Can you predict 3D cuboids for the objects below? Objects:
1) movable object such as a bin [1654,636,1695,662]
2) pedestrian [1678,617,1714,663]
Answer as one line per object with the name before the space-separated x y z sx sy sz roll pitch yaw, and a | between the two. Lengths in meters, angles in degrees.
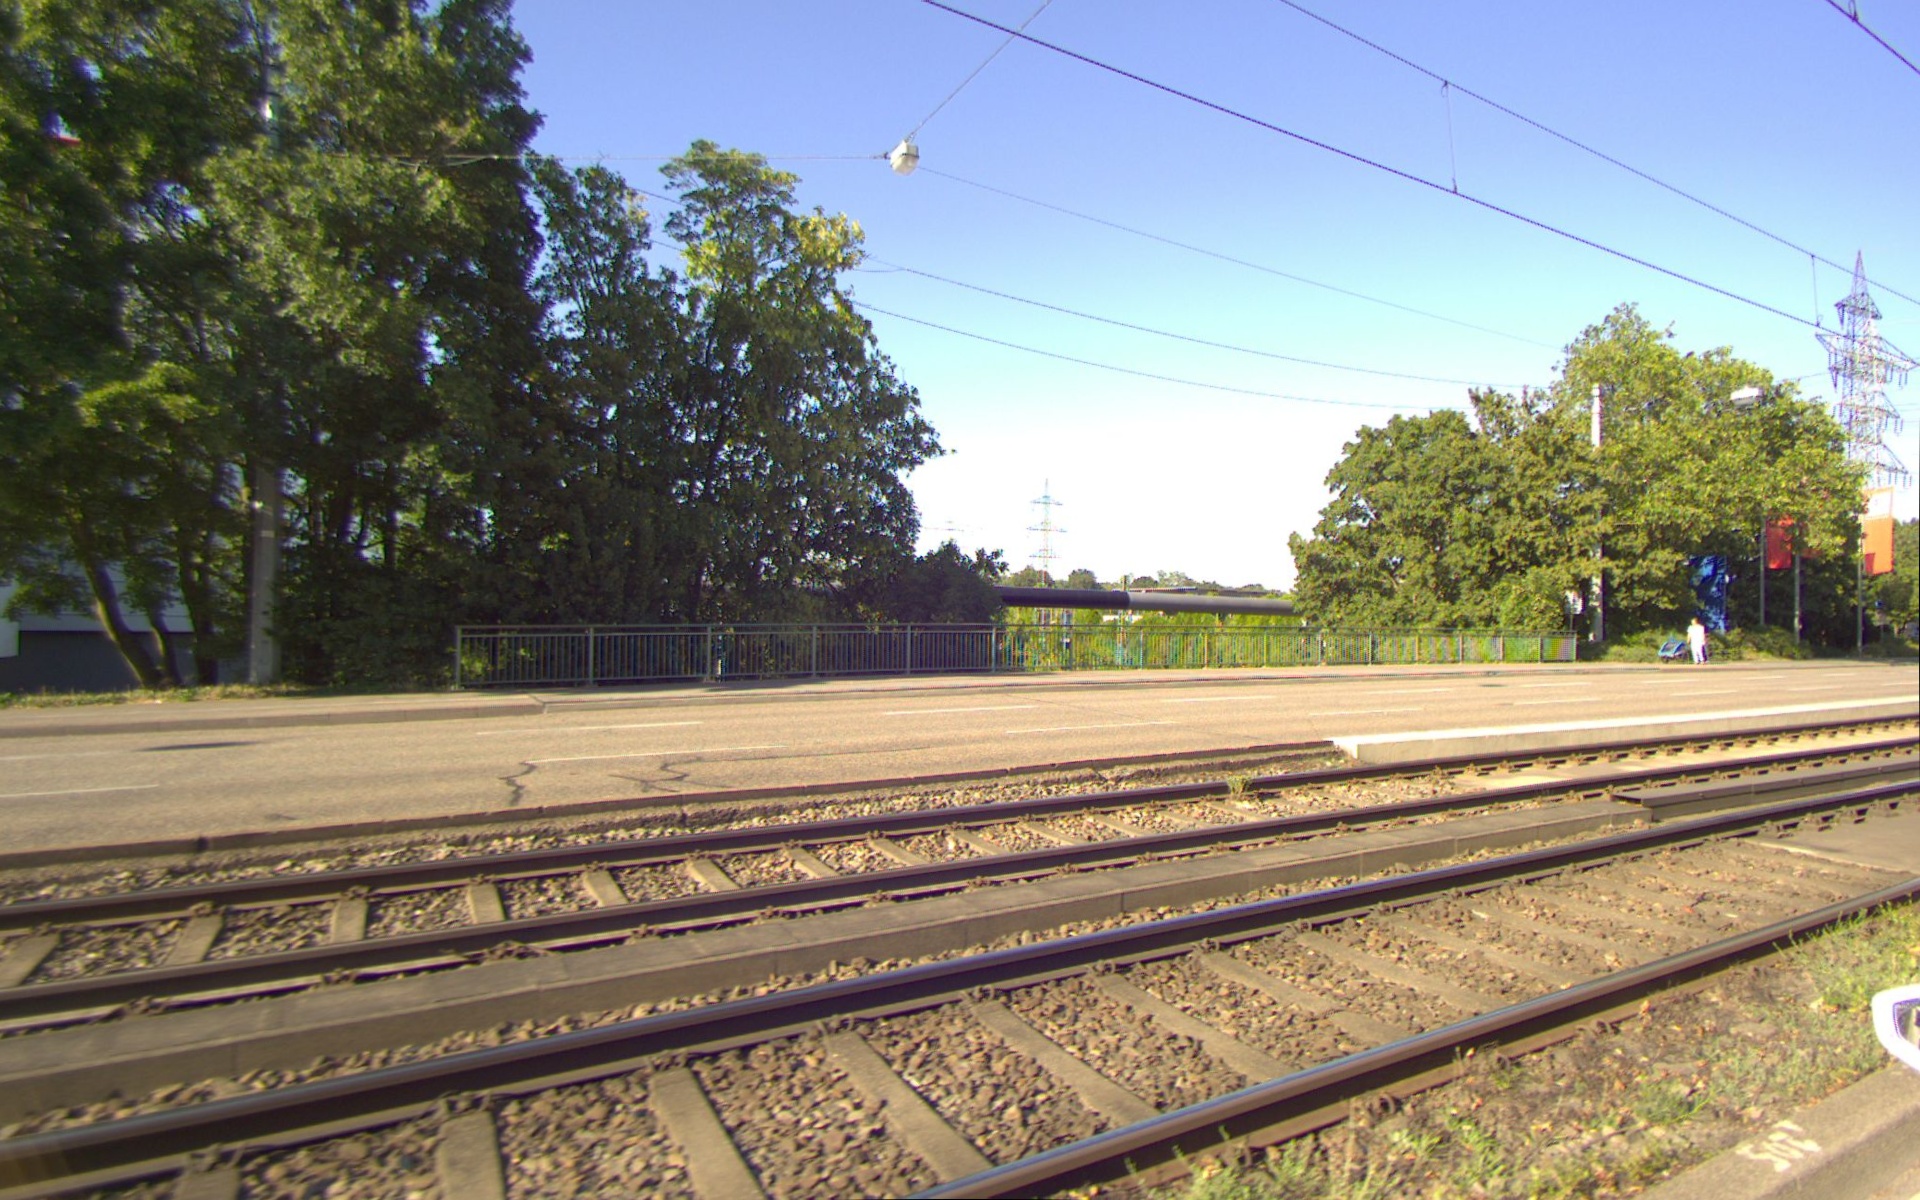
movable object such as a bin | 28.640 1.964 40.274 1.081 0.974 0.725 3 1 -9
pedestrian | 29.600 1.616 40.416 0.820 1.780 0.725 2 1 -9
